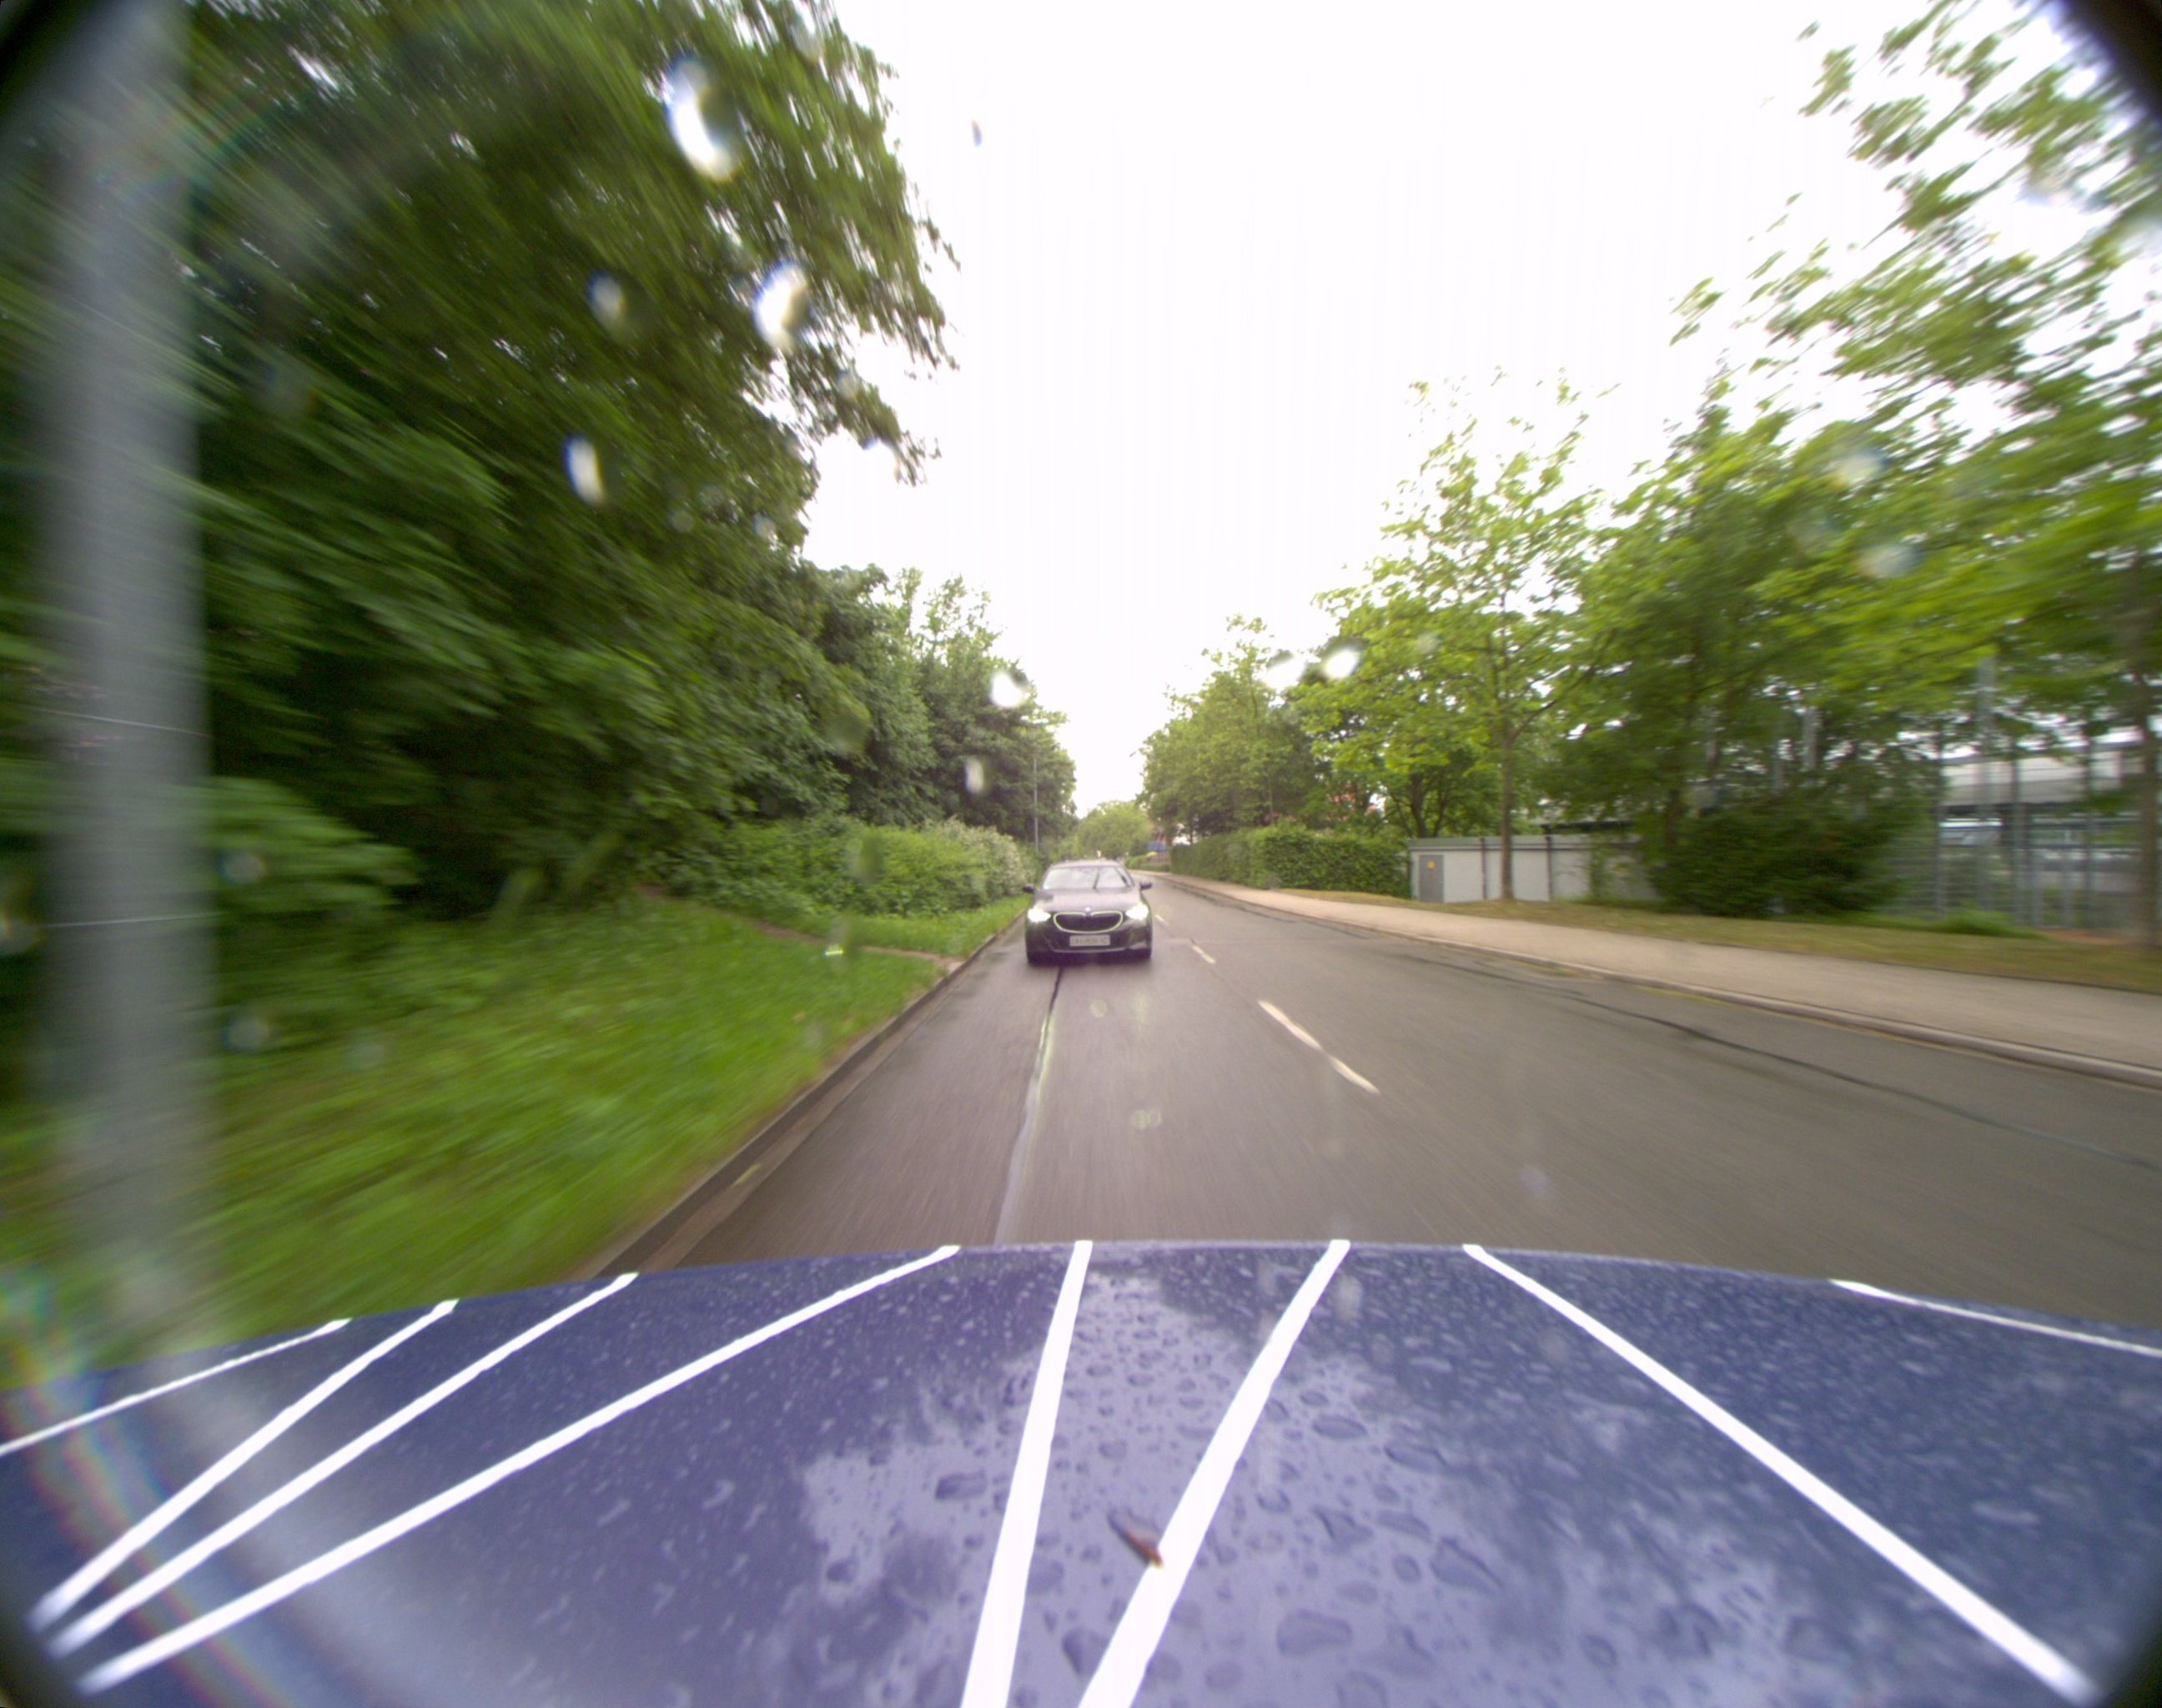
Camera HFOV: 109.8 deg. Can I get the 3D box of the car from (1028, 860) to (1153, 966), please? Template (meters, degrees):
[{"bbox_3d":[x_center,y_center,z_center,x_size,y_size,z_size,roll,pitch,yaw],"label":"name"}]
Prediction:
[{"bbox_3d":[0.123,0.897,13.656,1.832,1.499,4.498,-2,0,-1],"label":"car"}]
